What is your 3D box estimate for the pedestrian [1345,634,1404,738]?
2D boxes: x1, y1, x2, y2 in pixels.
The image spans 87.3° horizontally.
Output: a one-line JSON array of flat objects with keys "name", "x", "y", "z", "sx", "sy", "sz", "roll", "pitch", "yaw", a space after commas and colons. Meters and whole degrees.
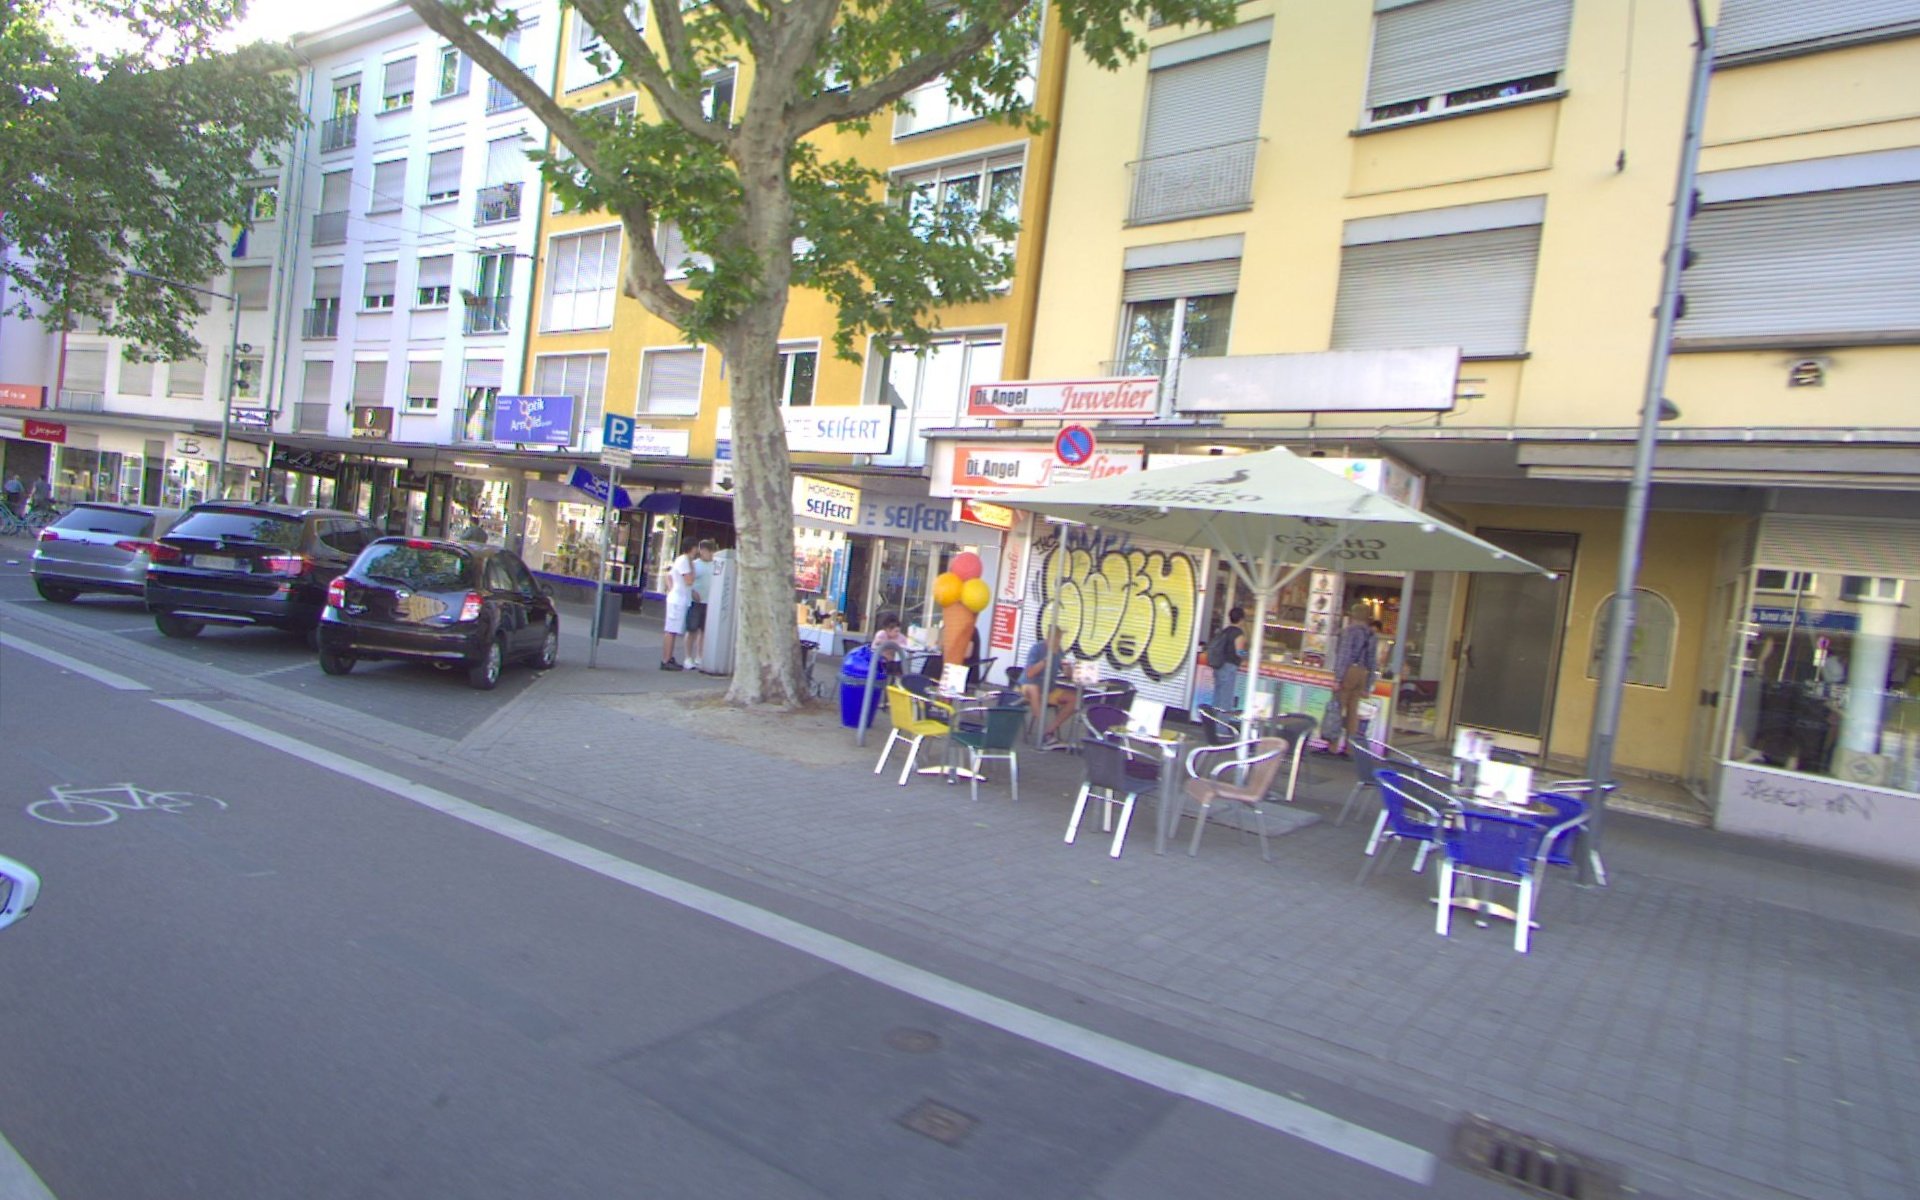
[{"name": "pedestrian", "x": 5.516, "y": 1.137, "z": 13.397, "sx": 0.500, "sy": 1.313, "sz": 0.425, "roll": 7, "pitch": 2, "yaw": 36}]

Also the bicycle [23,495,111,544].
[{"name": "bicycle", "x": -25.300, "y": -2.260, "z": 28.516, "sx": 0.668, "sy": 1.169, "sz": 1.760, "roll": 8, "pitch": 3, "yaw": 40}]

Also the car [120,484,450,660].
[{"name": "car", "x": -8.358, "y": -0.335, "z": 12.988, "sx": 1.778, "sy": 1.702, "sz": 4.144, "roll": 6, "pitch": 0, "yaw": -8}]

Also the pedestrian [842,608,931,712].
[{"name": "pedestrian", "x": -0.878, "y": 0.721, "z": 12.051, "sx": 0.738, "sy": 1.128, "sz": 0.584, "roll": 7, "pitch": 0, "yaw": 33}]

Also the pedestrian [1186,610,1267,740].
[{"name": "pedestrian", "x": 3.382, "y": 0.936, "z": 12.785, "sx": 0.618, "sy": 1.568, "sz": 0.633, "roll": 2, "pitch": 3, "yaw": -27}]

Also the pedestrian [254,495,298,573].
[{"name": "pedestrian", "x": -17.692, "y": -1.702, "z": 26.013, "sx": 0.813, "sy": 1.901, "sz": 0.641, "roll": 8, "pitch": 2, "yaw": 42}]

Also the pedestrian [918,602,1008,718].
[{"name": "pedestrian", "x": 0.039, "y": 0.725, "z": 12.135, "sx": 0.746, "sy": 1.290, "sz": 0.584, "roll": 7, "pitch": 0, "yaw": 33}]

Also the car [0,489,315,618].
[{"name": "car", "x": -11.810, "y": -0.633, "z": 15.076, "sx": 1.778, "sy": 1.470, "sz": 4.172, "roll": 7, "pitch": 0, "yaw": -5}]

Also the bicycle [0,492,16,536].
[{"name": "bicycle", "x": -27.863, "y": -2.489, "z": 28.267, "sx": 0.701, "sy": 1.205, "sz": 1.871, "roll": 8, "pitch": 4, "yaw": 40}]

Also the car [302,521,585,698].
[{"name": "car", "x": -5.721, "y": 0.070, "z": 11.667, "sx": 1.712, "sy": 1.560, "sz": 3.602, "roll": 6, "pitch": 0, "yaw": -8}]

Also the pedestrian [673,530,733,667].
[{"name": "pedestrian", "x": -3.612, "y": -0.015, "z": 14.186, "sx": 0.466, "sy": 1.856, "sz": 0.517, "roll": 7, "pitch": 2, "yaw": 10}]

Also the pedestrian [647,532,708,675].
[{"name": "pedestrian", "x": -3.836, "y": 0.049, "z": 13.692, "sx": 0.466, "sy": 1.856, "sz": 0.517, "roll": 6, "pitch": 2, "yaw": 5}]

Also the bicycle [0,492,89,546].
[{"name": "bicycle", "x": -25.378, "y": -2.232, "z": 27.583, "sx": 0.818, "sy": 1.249, "sz": 2.079, "roll": 8, "pitch": 2, "yaw": 37}]

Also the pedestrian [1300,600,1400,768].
[{"name": "pedestrian", "x": 4.503, "y": 0.960, "z": 11.638, "sx": 0.629, "sy": 1.827, "sz": 0.623, "roll": 6, "pitch": 2, "yaw": -22}]

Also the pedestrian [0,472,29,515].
[{"name": "pedestrian", "x": -40.991, "y": -4.607, "z": 43.450, "sx": 0.820, "sy": 1.701, "sz": 0.749, "roll": 10, "pitch": 2, "yaw": 26}]

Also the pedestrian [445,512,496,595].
[{"name": "pedestrian", "x": -11.184, "y": -1.052, "z": 22.987, "sx": 0.776, "sy": 1.816, "sz": 0.705, "roll": 8, "pitch": 5, "yaw": 38}]

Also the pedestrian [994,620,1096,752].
[{"name": "pedestrian", "x": 0.887, "y": 0.885, "z": 10.521, "sx": 0.733, "sy": 1.240, "sz": 0.606, "roll": 7, "pitch": 1, "yaw": 32}]

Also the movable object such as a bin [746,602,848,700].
[{"name": "movable object such as a bin", "x": -1.965, "y": 0.614, "z": 12.212, "sx": 0.824, "sy": 1.035, "sz": 0.930, "roll": 8, "pitch": -1, "yaw": 12}]

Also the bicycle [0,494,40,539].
[{"name": "bicycle", "x": -26.888, "y": -2.359, "z": 27.969, "sx": 0.660, "sy": 1.205, "sz": 1.787, "roll": 6, "pitch": 3, "yaw": 24}]

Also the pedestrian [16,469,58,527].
[{"name": "pedestrian", "x": -31.296, "y": -3.449, "z": 34.107, "sx": 0.751, "sy": 1.817, "sz": 0.781, "roll": 7, "pitch": 2, "yaw": 32}]
